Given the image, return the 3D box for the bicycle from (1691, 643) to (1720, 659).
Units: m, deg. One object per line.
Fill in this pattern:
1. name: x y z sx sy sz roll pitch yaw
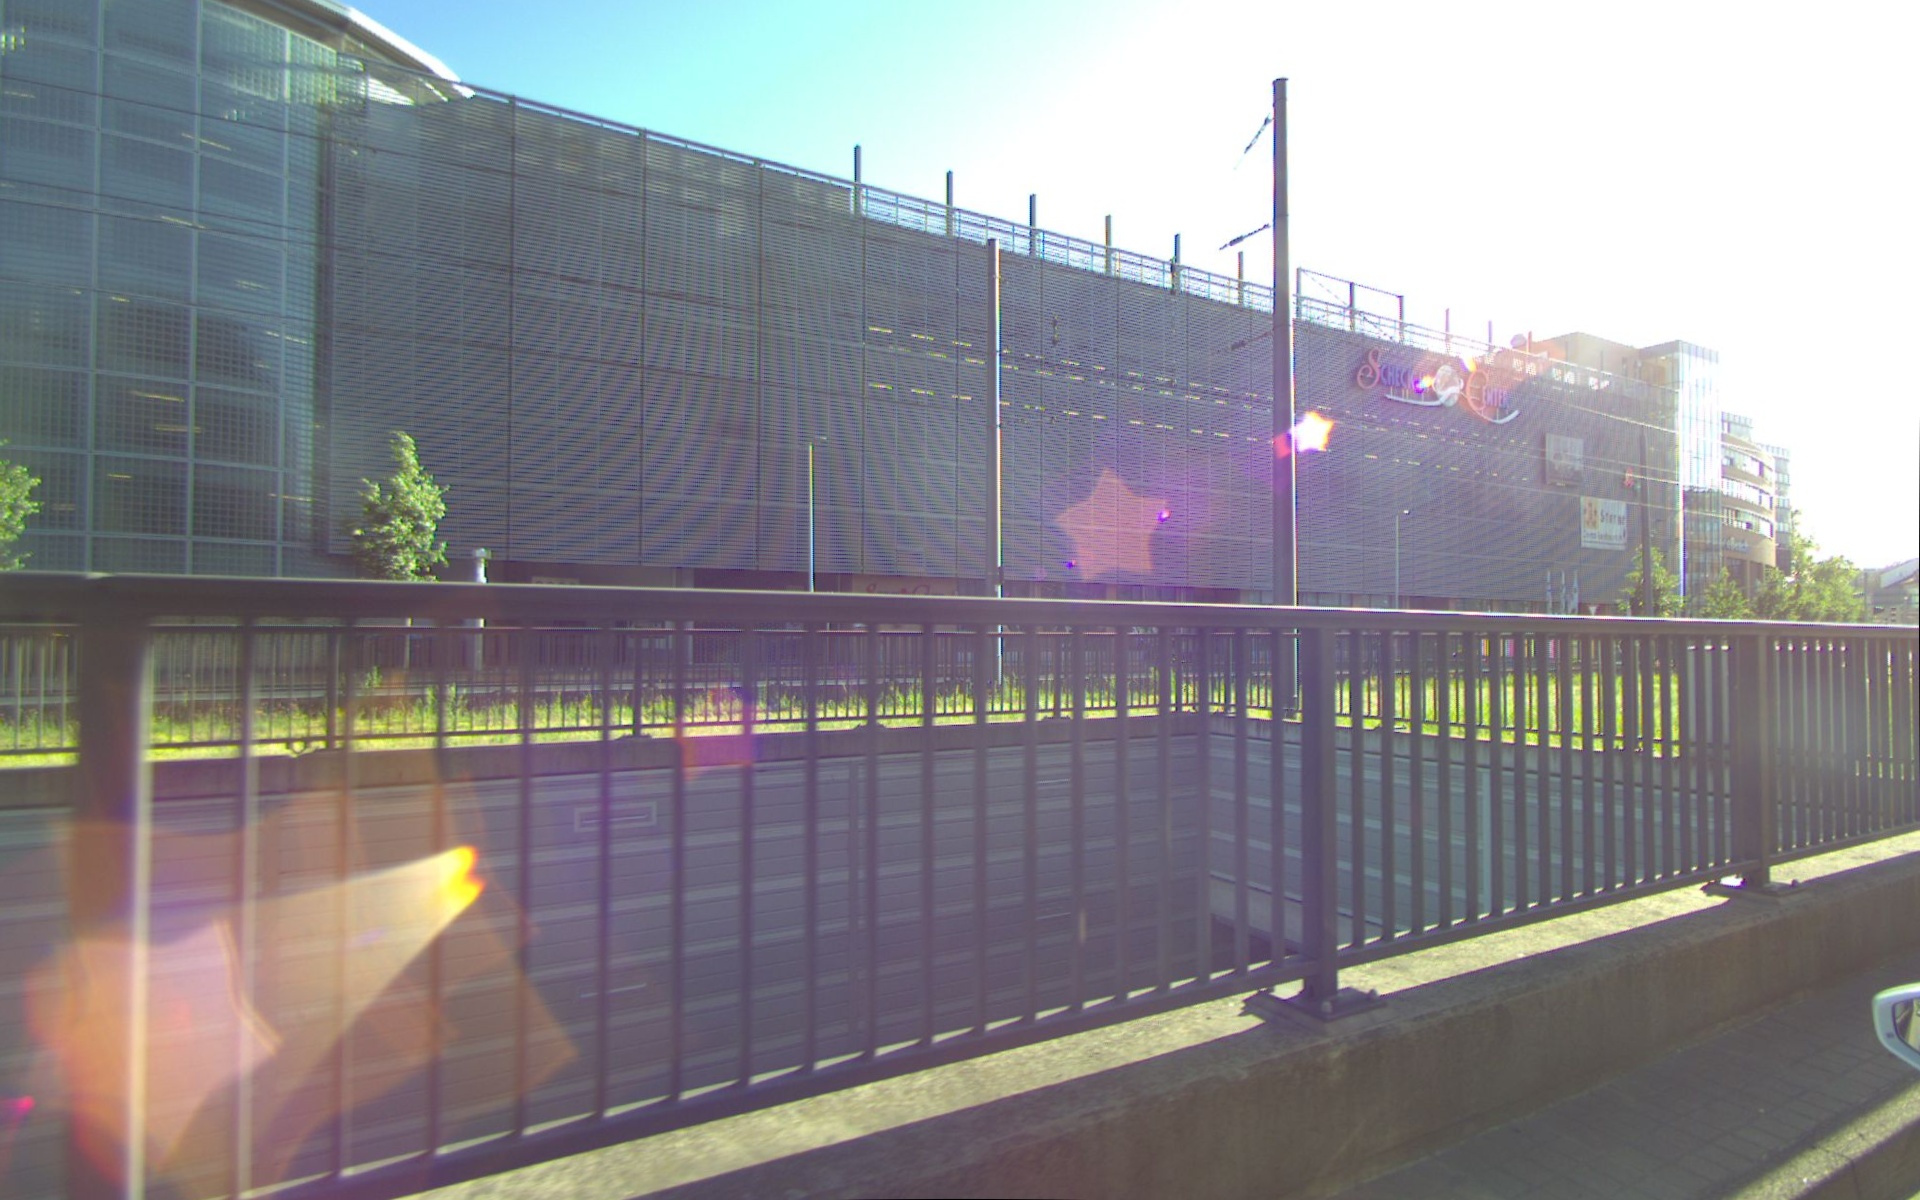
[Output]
1. bicycle: 69.218 4.730 93.280 0.848 1.452 2.080 2 -3 -20

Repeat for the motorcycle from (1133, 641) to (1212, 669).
1. motorcycle: 11.703 3.005 55.327 3.953 1.472 1.984 1 -2 -30

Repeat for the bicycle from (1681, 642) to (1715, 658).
1. bicycle: 68.208 4.608 92.886 1.060 1.452 2.367 2 -3 -20

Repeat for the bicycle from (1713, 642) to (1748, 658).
1. bicycle: 73.405 4.750 95.663 0.891 1.452 2.559 2 -3 -20

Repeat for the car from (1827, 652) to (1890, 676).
1. car: 63.325 4.465 70.777 4.475 1.566 1.985 1 -2 -29

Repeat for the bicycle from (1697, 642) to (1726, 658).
1. bicycle: 70.168 4.697 93.793 0.795 1.452 1.975 2 -3 -20

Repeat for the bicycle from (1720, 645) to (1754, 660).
1. bicycle: 75.125 5.091 97.133 0.891 1.452 2.559 2 -3 -20
